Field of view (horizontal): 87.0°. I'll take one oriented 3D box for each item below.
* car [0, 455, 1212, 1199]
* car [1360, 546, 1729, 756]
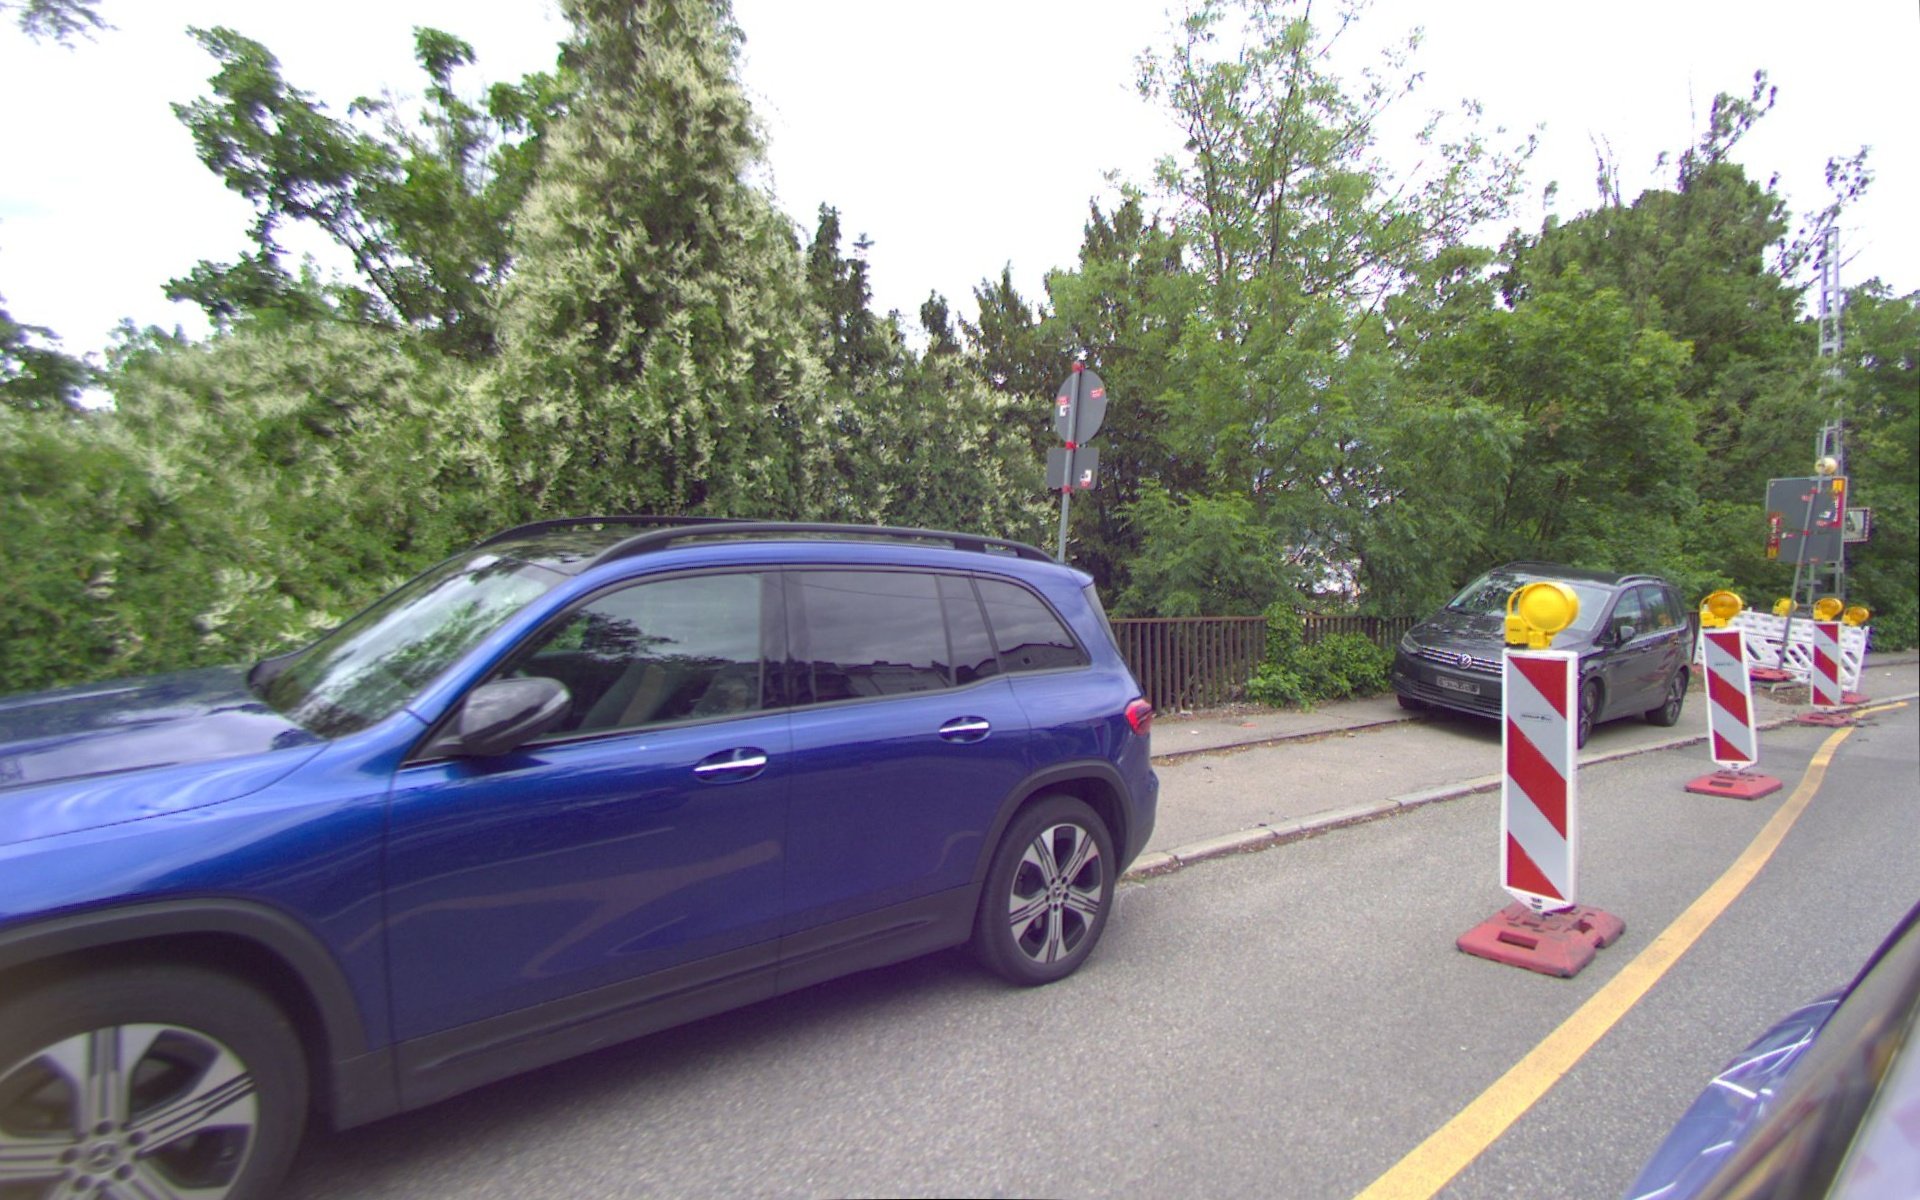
[{"bbox_3d":[-1.224,0.493,3.546,4.424,1.662,1.843,-1,4,-41],"label":"car"},{"bbox_3d":[6.436,0.394,10.936,4.564,1.693,1.868,0,7,-40],"label":"car"}]
